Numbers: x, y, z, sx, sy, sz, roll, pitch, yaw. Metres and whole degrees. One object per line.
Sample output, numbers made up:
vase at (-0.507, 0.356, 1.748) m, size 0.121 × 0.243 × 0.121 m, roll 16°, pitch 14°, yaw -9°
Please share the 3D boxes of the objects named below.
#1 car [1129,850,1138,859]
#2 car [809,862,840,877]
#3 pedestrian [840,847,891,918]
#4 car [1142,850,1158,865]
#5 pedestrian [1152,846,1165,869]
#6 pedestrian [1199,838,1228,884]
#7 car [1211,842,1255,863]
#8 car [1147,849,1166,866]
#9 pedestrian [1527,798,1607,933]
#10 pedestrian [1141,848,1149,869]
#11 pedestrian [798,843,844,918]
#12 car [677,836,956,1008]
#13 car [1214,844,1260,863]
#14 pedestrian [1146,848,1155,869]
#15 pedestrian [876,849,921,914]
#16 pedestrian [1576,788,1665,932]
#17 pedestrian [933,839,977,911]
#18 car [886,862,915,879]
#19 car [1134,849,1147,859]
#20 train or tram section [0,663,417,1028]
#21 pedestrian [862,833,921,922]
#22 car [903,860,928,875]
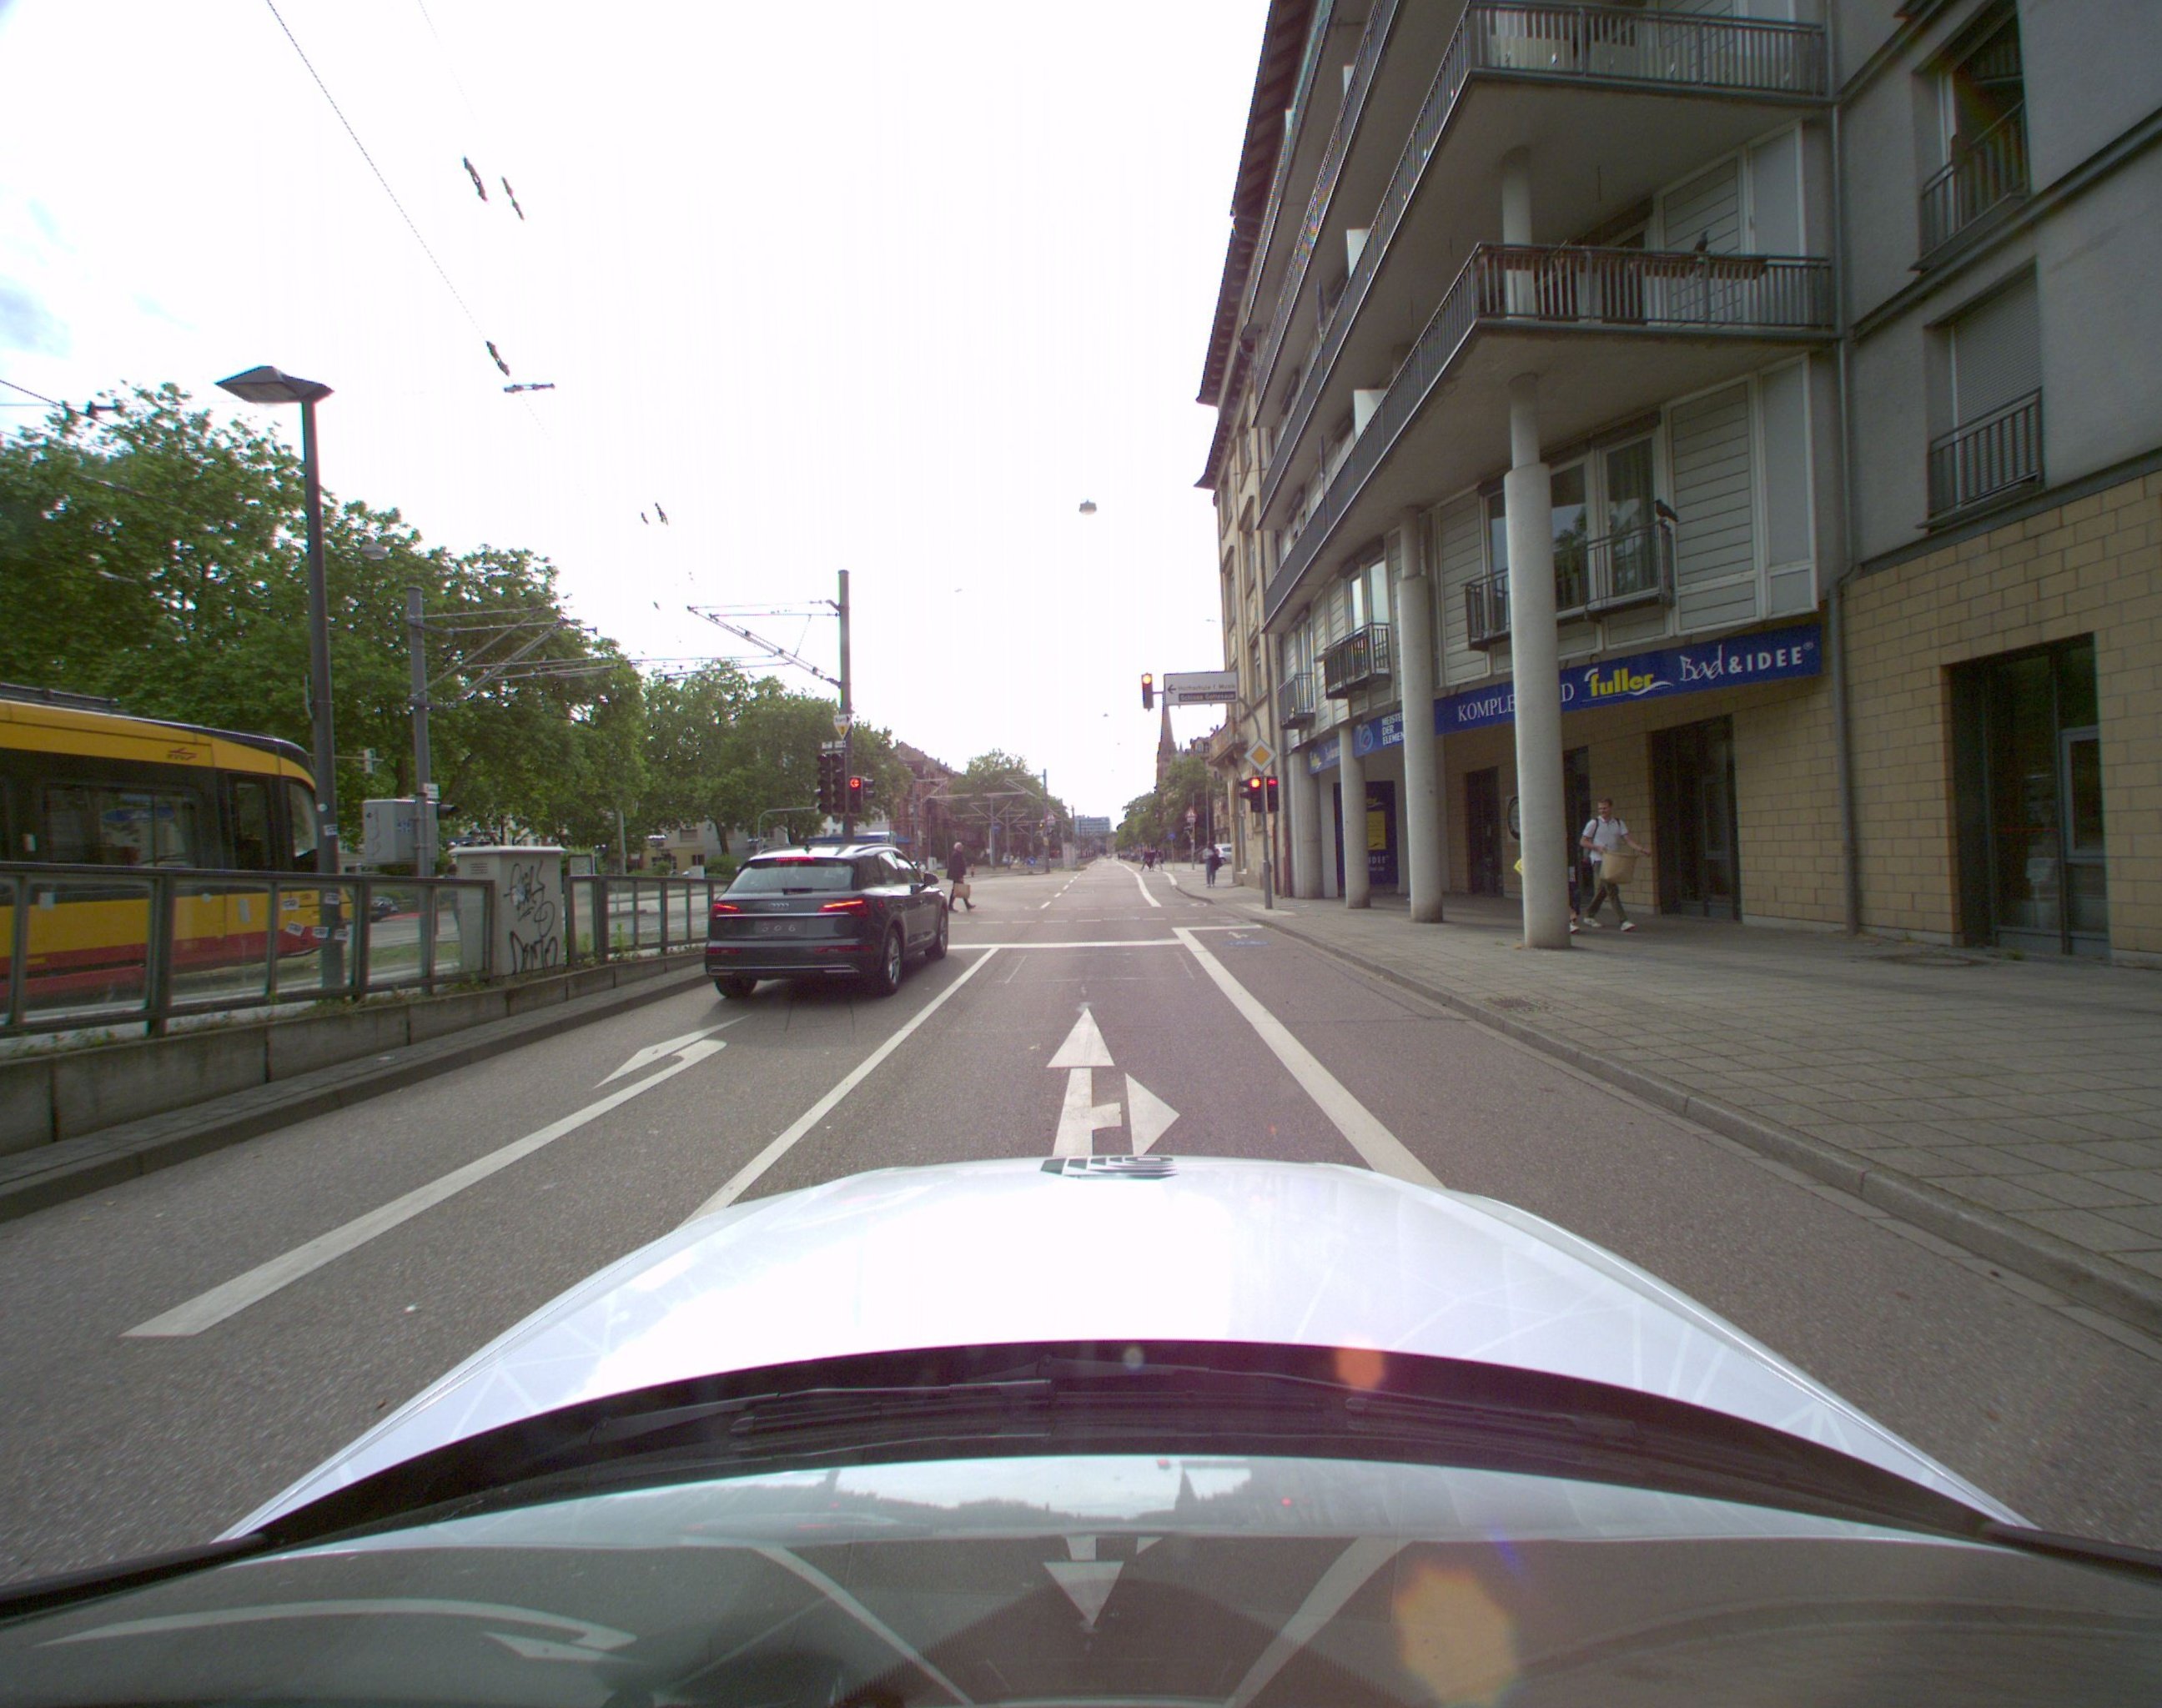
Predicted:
car at (11.676, 0.129, 181.304) m, size 1.986 × 2.013 × 4.001 m, roll -1°, pitch 0°, yaw 2°
car at (-28.407, 1.721, 90.265) m, size 1.986 × 1.530 × 4.001 m, roll -1°, pitch 0°, yaw 2°
pedestrian at (-5.140, 0.665, 19.461) m, size 0.620 × 1.652 × 1.003 m, roll -1°, pitch -1°, yaw 38°
car at (9.165, 0.439, 108.547) m, size 1.986 × 2.013 × 4.001 m, roll -1°, pitch 0°, yaw 2°
pedestrian at (5.631, 0.263, 59.380) m, size 0.848 × 1.654 × 0.508 m, roll -1°, pitch 0°, yaw -1°
pedestrian at (4.879, 0.252, 30.032) m, size 0.663 × 1.680 × 0.874 m, roll -1°, pitch -1°, yaw 40°
car at (14.337, -0.145, 77.047) m, size 3.785 × 1.904 × 2.001 m, roll -1°, pitch 0°, yaw 1°
car at (9.148, 0.415, 99.158) m, size 1.986 × 2.013 × 4.001 m, roll -1°, pitch 0°, yaw 2°
pedestrian at (6.797, 0.151, 11.412) m, size 0.613 × 1.805 × 0.738 m, roll -3°, pitch 0°, yaw 3°
pedestrian at (4.840, 0.350, 61.472) m, size 0.544 × 1.537 × 0.465 m, roll -1°, pitch 0°, yaw -3°
pedestrian at (-6.445, 0.637, 20.177) m, size 1.015 × 1.813 × 0.580 m, roll -1°, pitch 0°, yaw -22°
car at (-2.862, 0.653, 9.963) m, size 1.873 × 1.601 × 4.358 m, roll -2°, pitch 0°, yaw 1°
car at (14.065, -0.047, 73.640) m, size 3.785 × 1.601 × 2.001 m, roll -1°, pitch 0°, yaw 1°
pedestrian at (5.209, 0.356, 60.955) m, size 0.651 × 1.537 × 0.465 m, roll -1°, pitch 0°, yaw -3°
pedestrian at (-4.582, 0.683, 20.446) m, size 0.693 × 1.593 × 0.836 m, roll -1°, pitch -1°, yaw 39°
pedestrian at (7.456, 0.079, 11.294) m, size 0.672 × 1.890 × 0.738 m, roll -3°, pitch 0°, yaw 3°
pedestrian at (-3.205, 0.520, 20.717) m, size 0.906 × 1.784 × 0.651 m, roll -1°, pitch -1°, yaw 39°
car at (-18.095, 1.630, 81.848) m, size 1.887 × 1.557 × 3.838 m, roll -1°, pitch 0°, yaw 2°
car at (10.054, 0.015, 137.363) m, size 1.986 × 1.607 × 4.165 m, roll -3°, pitch 0°, yaw 2°
train or tram section at (-12.254, -0.068, 4.946) m, size 3.048 × 3.588 × 15.855 m, roll -1°, pitch 0°, yaw 2°
pedestrian at (-3.971, 0.475, 17.014) m, size 1.132 × 1.778 × 0.625 m, roll -2°, pitch -1°, yaw -16°
car at (-18.008, 1.479, 88.758) m, size 1.887 × 1.557 × 3.838 m, roll -1°, pitch 0°, yaw 2°
